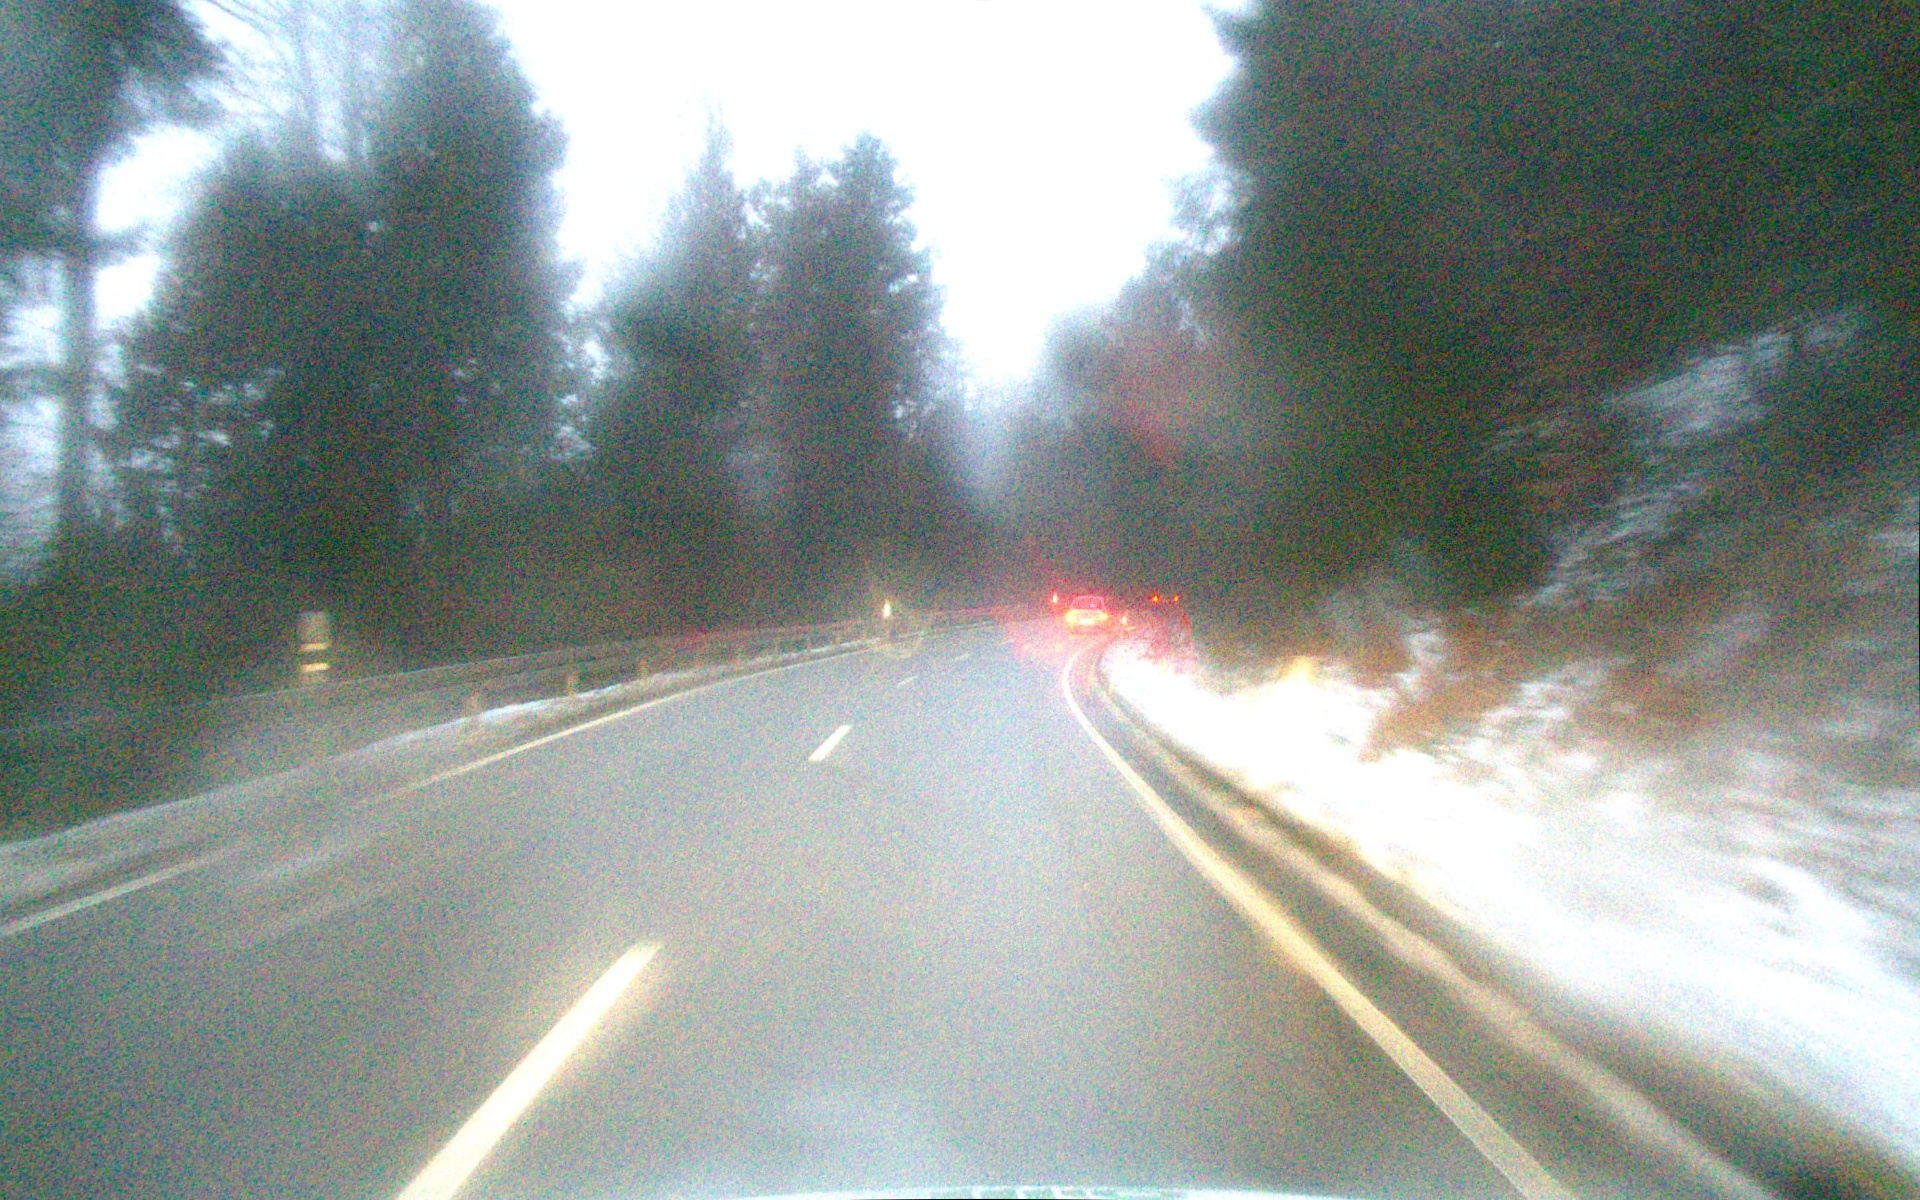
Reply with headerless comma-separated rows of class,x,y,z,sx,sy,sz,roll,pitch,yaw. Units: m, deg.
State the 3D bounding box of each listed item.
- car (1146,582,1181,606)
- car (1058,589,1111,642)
car,12.297,-0.384,99.914,1.951,1.333,4.003,-2,0,6
car,4.848,0.580,64.678,1.952,1.905,4.002,-2,0,4
